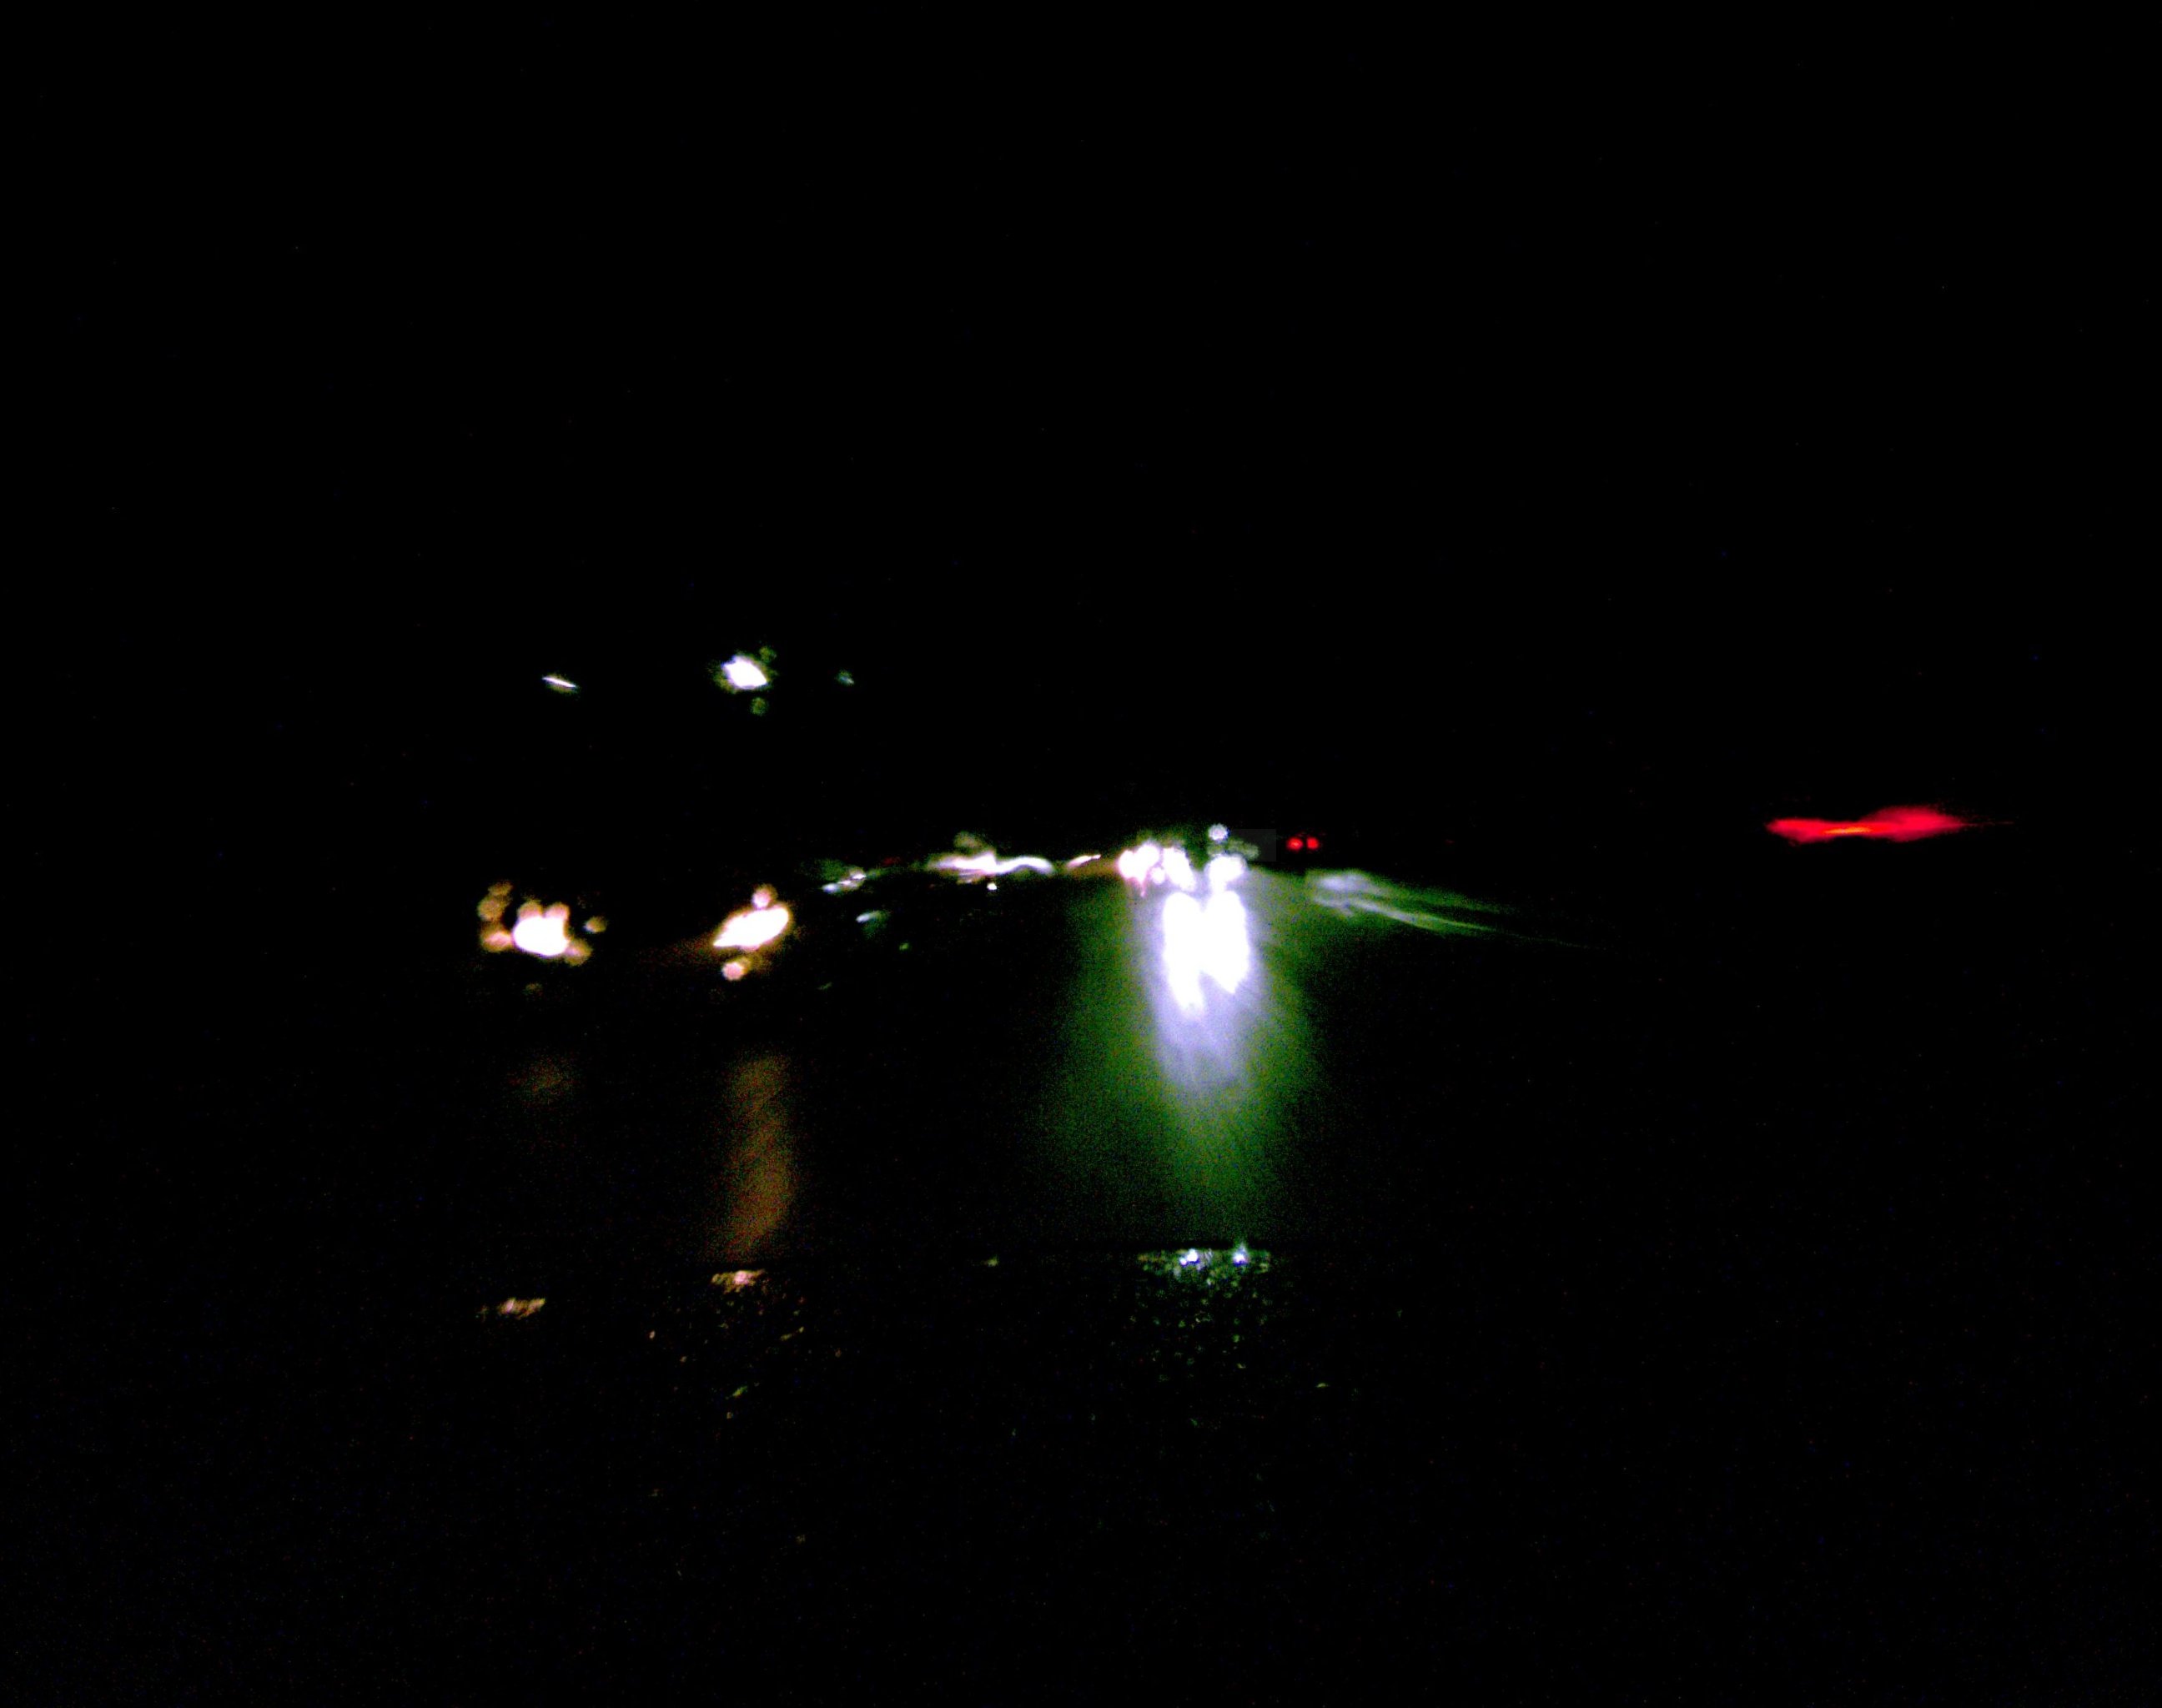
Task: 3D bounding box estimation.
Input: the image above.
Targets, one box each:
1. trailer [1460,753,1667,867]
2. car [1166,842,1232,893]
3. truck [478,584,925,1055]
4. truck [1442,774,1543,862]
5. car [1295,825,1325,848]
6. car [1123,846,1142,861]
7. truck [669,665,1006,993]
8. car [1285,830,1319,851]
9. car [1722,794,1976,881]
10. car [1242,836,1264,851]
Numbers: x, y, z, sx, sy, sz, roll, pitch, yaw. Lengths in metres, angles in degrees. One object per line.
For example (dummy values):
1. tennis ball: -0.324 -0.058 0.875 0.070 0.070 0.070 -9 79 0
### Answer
1. trailer: 24.962 -2.045 40.836 2.780 4.946 14.107 -2 1 3
2. car: 4.802 0.487 31.650 2.141 1.873 5.556 -2 1 3
3. truck: -4.103 -0.328 9.974 2.503 4.223 5.982 -2 1 2
4. truck: 25.307 -2.123 47.127 2.780 4.947 6.716 -2 1 3
5. car: 25.632 -1.981 85.229 2.179 2.427 4.938 -2 1 4
6. car: 5.694 -0.039 84.815 1.998 1.553 4.646 -2 1 3
7. truck: -3.883 -0.396 16.829 2.503 4.223 13.642 -2 1 2
8. car: 20.003 -1.209 68.819 1.998 1.749 4.000 -2 0 2
9. car: 16.737 -0.335 16.877 1.784 1.638 3.864 -2 0 2
10. car: 19.282 -1.201 85.165 1.880 1.618 4.001 -2 0 5
